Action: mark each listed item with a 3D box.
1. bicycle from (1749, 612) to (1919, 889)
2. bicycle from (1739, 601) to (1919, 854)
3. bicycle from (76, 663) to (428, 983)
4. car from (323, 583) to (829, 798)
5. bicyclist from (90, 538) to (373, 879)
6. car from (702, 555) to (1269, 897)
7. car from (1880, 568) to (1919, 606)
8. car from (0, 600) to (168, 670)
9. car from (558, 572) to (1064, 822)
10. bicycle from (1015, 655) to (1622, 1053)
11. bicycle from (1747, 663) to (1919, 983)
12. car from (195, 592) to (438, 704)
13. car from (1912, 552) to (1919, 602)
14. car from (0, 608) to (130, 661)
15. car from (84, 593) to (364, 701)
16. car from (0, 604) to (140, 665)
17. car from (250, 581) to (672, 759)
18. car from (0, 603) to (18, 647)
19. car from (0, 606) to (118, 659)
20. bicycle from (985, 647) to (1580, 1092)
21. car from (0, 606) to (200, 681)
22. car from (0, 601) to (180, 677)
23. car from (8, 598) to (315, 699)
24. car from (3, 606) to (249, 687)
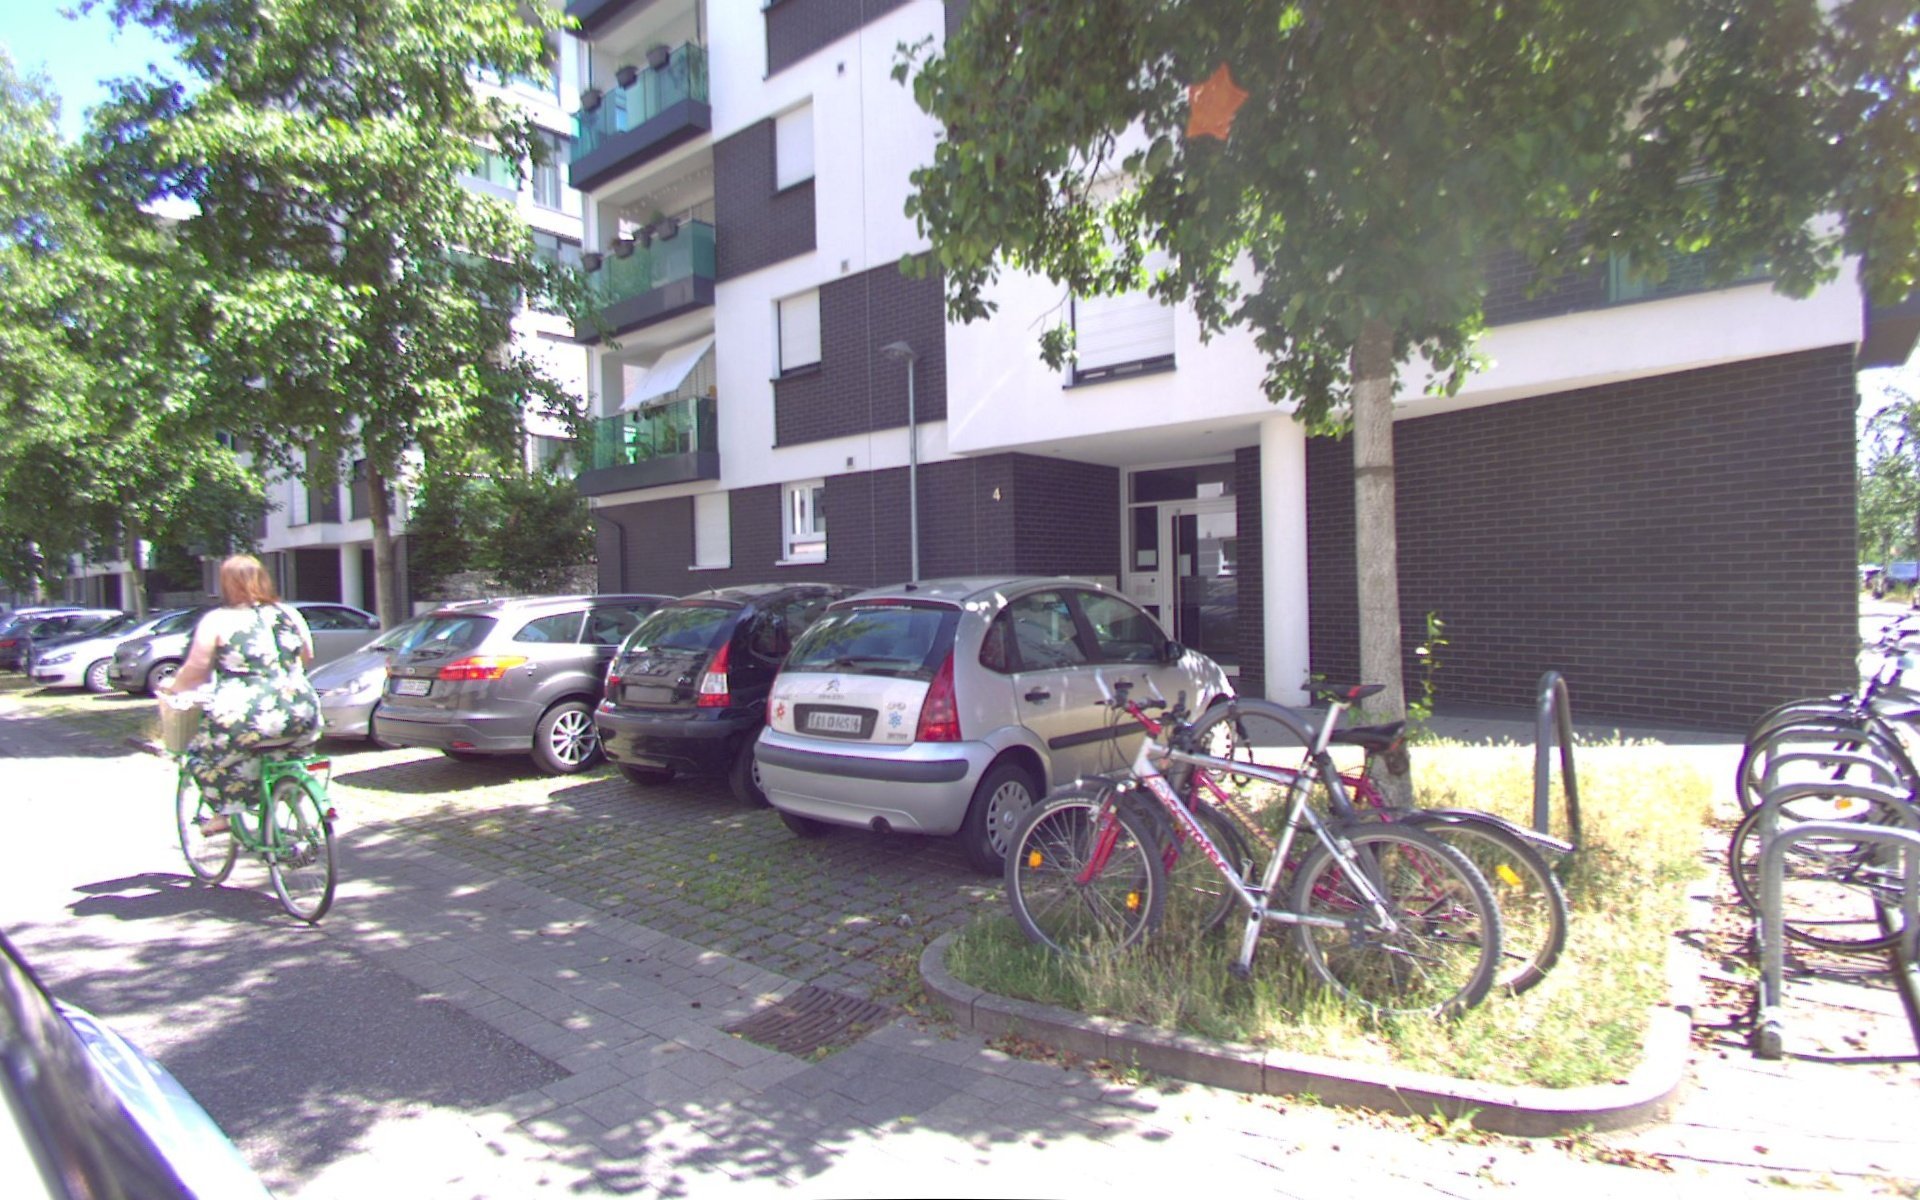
[{"bbox_3d":[4.551,0.626,4.289,1.834,1.144,0.703,-1,0,35],"label":"bicycle"},{"bbox_3d":[4.981,0.598,4.844,1.922,1.182,0.740,-1,0,43],"label":"bicycle"},{"bbox_3d":[-3.515,0.933,4.948,2.038,1.137,0.889,-1,0,40],"label":"bicycle"},{"bbox_3d":[-3.412,0.638,9.713,1.955,1.497,4.143,0,2,36],"label":"car"},{"bbox_3d":[-3.572,0.466,4.985,0.799,1.470,0.944,-1,0,39],"label":"bicyclist"},{"bbox_3d":[0.392,0.530,6.604,1.830,1.532,3.594,-1,2,40],"label":"car"},{"bbox_3d":[40.181,-0.584,42.535,1.998,1.519,3.948,-1,0,39],"label":"car"},{"bbox_3d":[-24.408,0.926,27.695,1.932,1.641,3.947,-1,2,40],"label":"car"},{"bbox_3d":[-1.030,0.604,8.445,1.800,1.566,3.944,-1,0,42],"label":"car"},{"bbox_3d":[1.187,0.788,3.664,1.969,1.136,0.431,-1,0,29],"label":"bicycle"},{"bbox_3d":[3.646,0.764,3.295,1.677,0.998,0.527,0,3,43],"label":"bicycle"},{"bbox_3d":[-10.601,0.716,16.786,1.846,1.511,2.905,-1,3,39],"label":"car"},{"bbox_3d":[29.897,-0.722,30.064,1.998,1.519,3.948,-1,0,39],"label":"car"},{"bbox_3d":[-29.867,1.118,32.801,1.791,1.487,4.274,-1,2,40],"label":"car"},{"bbox_3d":[-13.206,0.755,18.348,1.816,1.597,3.677,-1,2,35],"label":"car"},{"bbox_3d":[-27.954,1.041,31.101,1.882,1.603,3.947,-1,2,40],"label":"car"},{"bbox_3d":[-5.556,0.645,11.662,1.870,1.565,3.899,-1,2,39],"label":"car"},{"bbox_3d":[-48.663,1.252,48.251,2.186,2.126,5.286,-1,0,42],"label":"car"},{"bbox_3d":[-31.649,1.125,34.481,1.923,1.529,4.211,-1,3,39],"label":"car"},{"bbox_3d":[0.978,0.764,3.371,1.812,1.189,0.368,-1,0,29],"label":"bicycle"},{"bbox_3d":[-20.735,0.975,24.022,1.772,1.456,3.939,-1,2,36],"label":"car"},{"bbox_3d":[-22.641,0.960,25.870,1.917,1.663,3.945,-1,2,42],"label":"car"},{"bbox_3d":[-15.296,0.867,19.607,1.997,1.723,4.319,-1,-1,37],"label":"car"},{"bbox_3d":[-18.610,0.966,22.711,1.896,1.433,3.946,-1,2,41],"label":"car"}]
